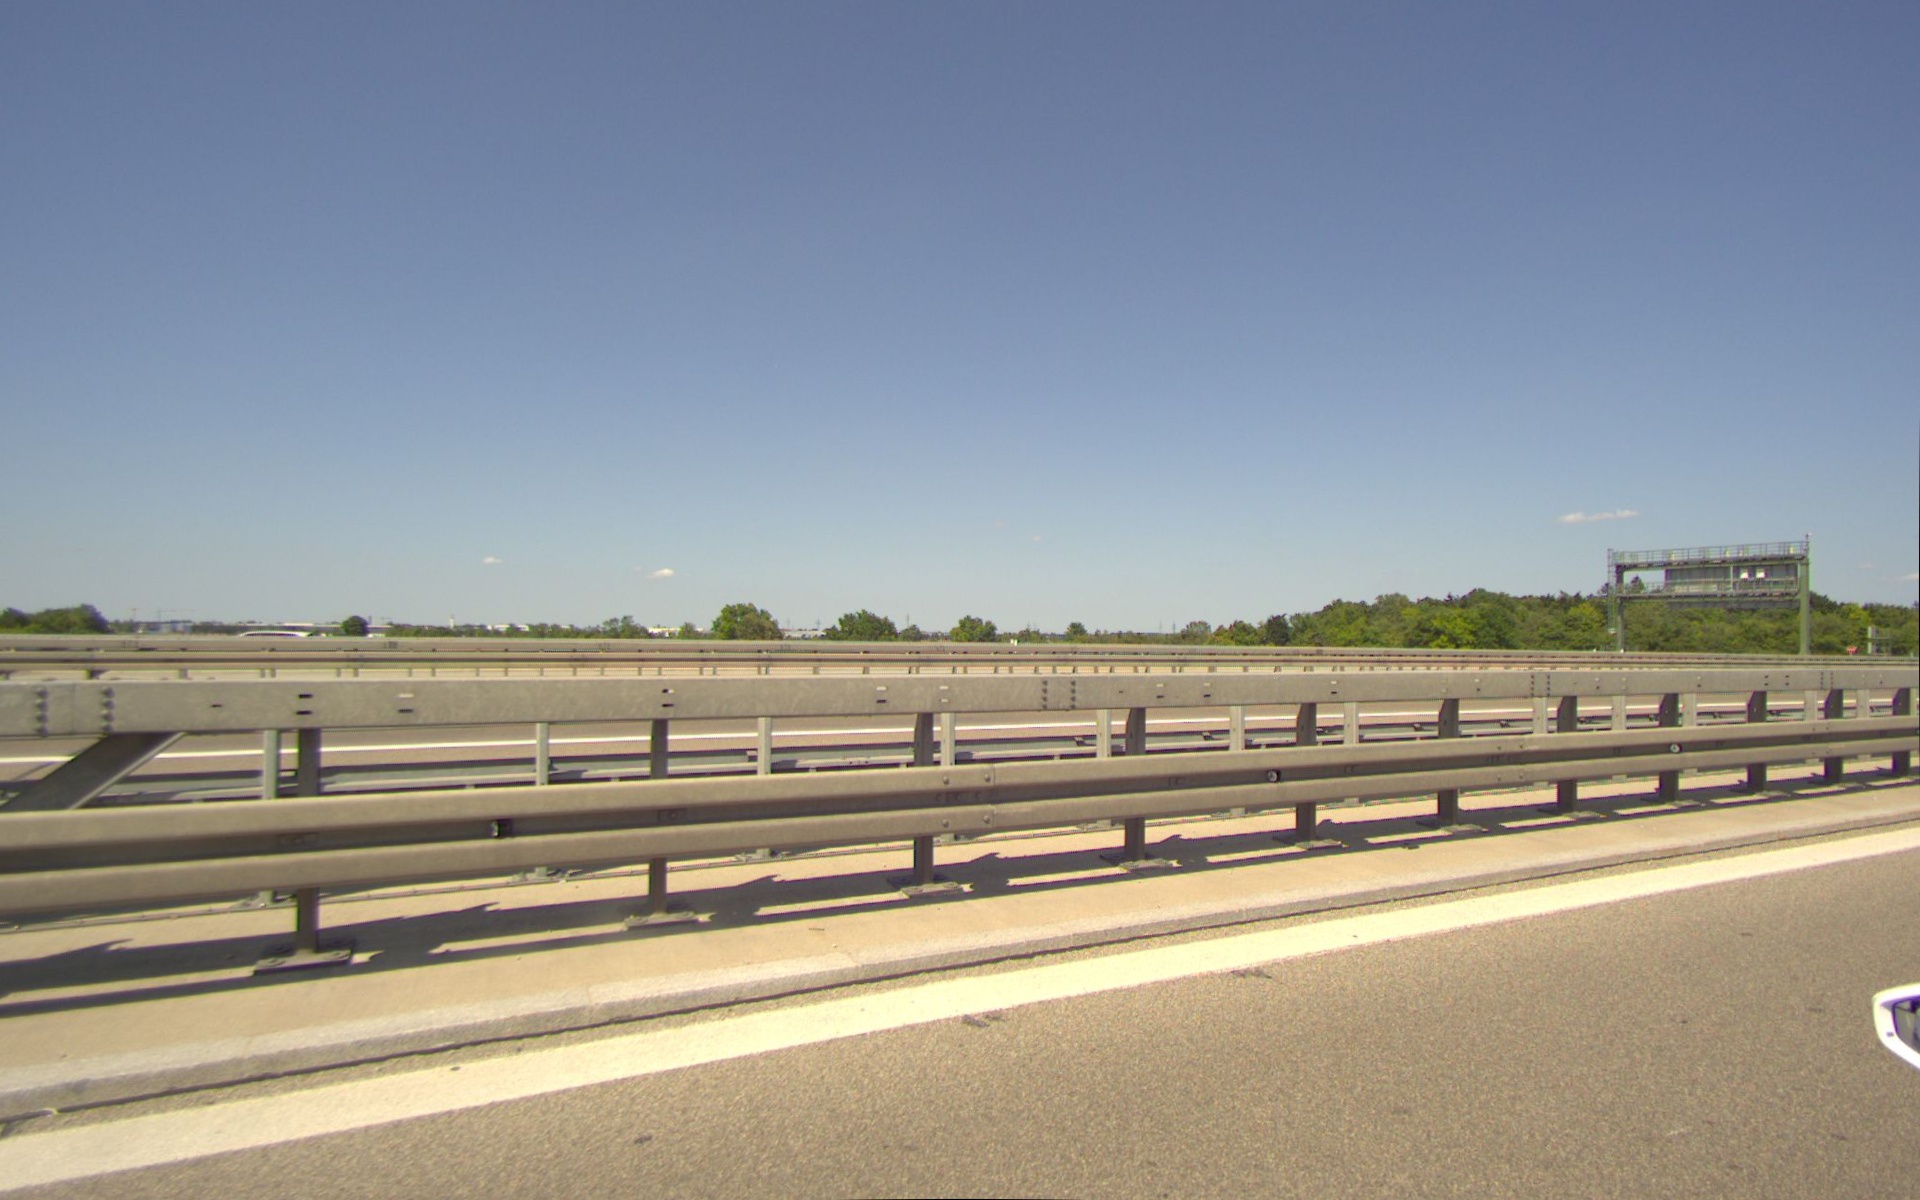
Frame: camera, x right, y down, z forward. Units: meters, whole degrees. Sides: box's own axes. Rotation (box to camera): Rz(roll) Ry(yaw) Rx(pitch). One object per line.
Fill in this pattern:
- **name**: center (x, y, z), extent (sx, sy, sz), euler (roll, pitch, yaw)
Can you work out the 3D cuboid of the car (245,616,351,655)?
- **car**: center (-26.315, 1.434, 40.039), extent (3.302, 1.371, 1.572), euler (4, -3, -28)
